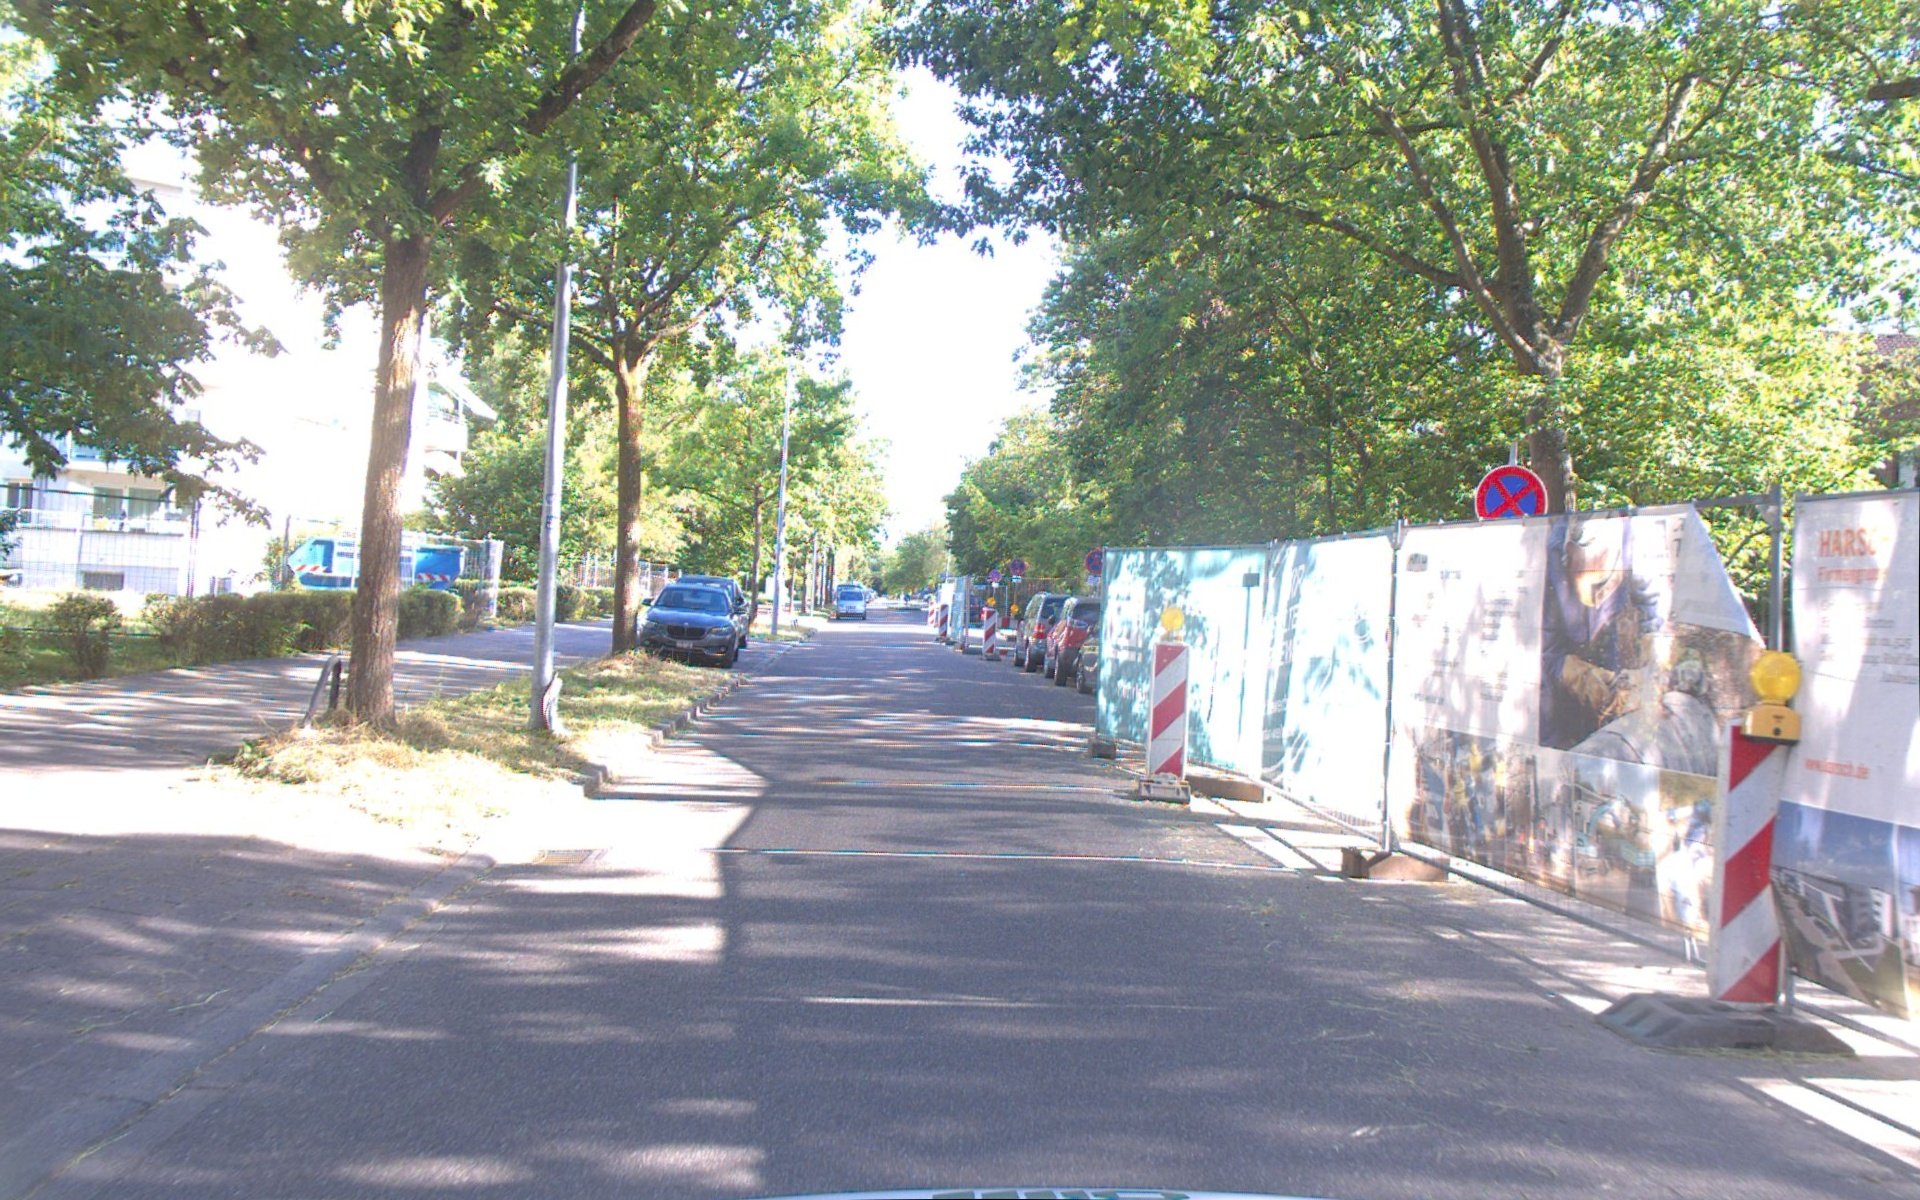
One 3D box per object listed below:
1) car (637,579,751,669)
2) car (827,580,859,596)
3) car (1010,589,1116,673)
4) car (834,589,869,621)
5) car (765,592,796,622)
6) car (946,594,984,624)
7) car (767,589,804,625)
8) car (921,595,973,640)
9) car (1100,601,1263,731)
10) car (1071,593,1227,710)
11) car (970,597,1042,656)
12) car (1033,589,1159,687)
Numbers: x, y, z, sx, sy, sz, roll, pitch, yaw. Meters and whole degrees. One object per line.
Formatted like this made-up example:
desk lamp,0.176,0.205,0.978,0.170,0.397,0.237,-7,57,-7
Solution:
car,-4.933,0.411,31.055,1.716,1.503,3.833,3,0,-4
car,-14.477,-1.503,204.162,3.647,1.720,1.575,3,0,-14
car,2.159,0.618,35.446,1.719,1.623,3.654,3,0,-4
car,-6.017,0.265,91.519,1.678,1.612,3.994,4,-1,-7
car,-8.437,0.335,77.994,1.335,1.325,3.477,4,-1,-5
car,0.246,0.433,84.245,1.758,1.434,3.999,3,0,-1
car,-6.991,0.283,66.341,1.335,1.325,3.477,4,-1,-5
car,-0.449,0.563,54.182,1.335,1.325,3.477,4,-1,-5
car,2.837,0.811,21.735,1.471,1.503,3.055,3,0,-4
car,2.890,0.752,26.049,1.719,1.623,3.654,3,0,-4
car,1.114,0.646,41.295,1.335,1.325,3.477,4,-1,-5
car,2.461,0.654,30.780,1.719,1.623,3.654,3,0,-4
